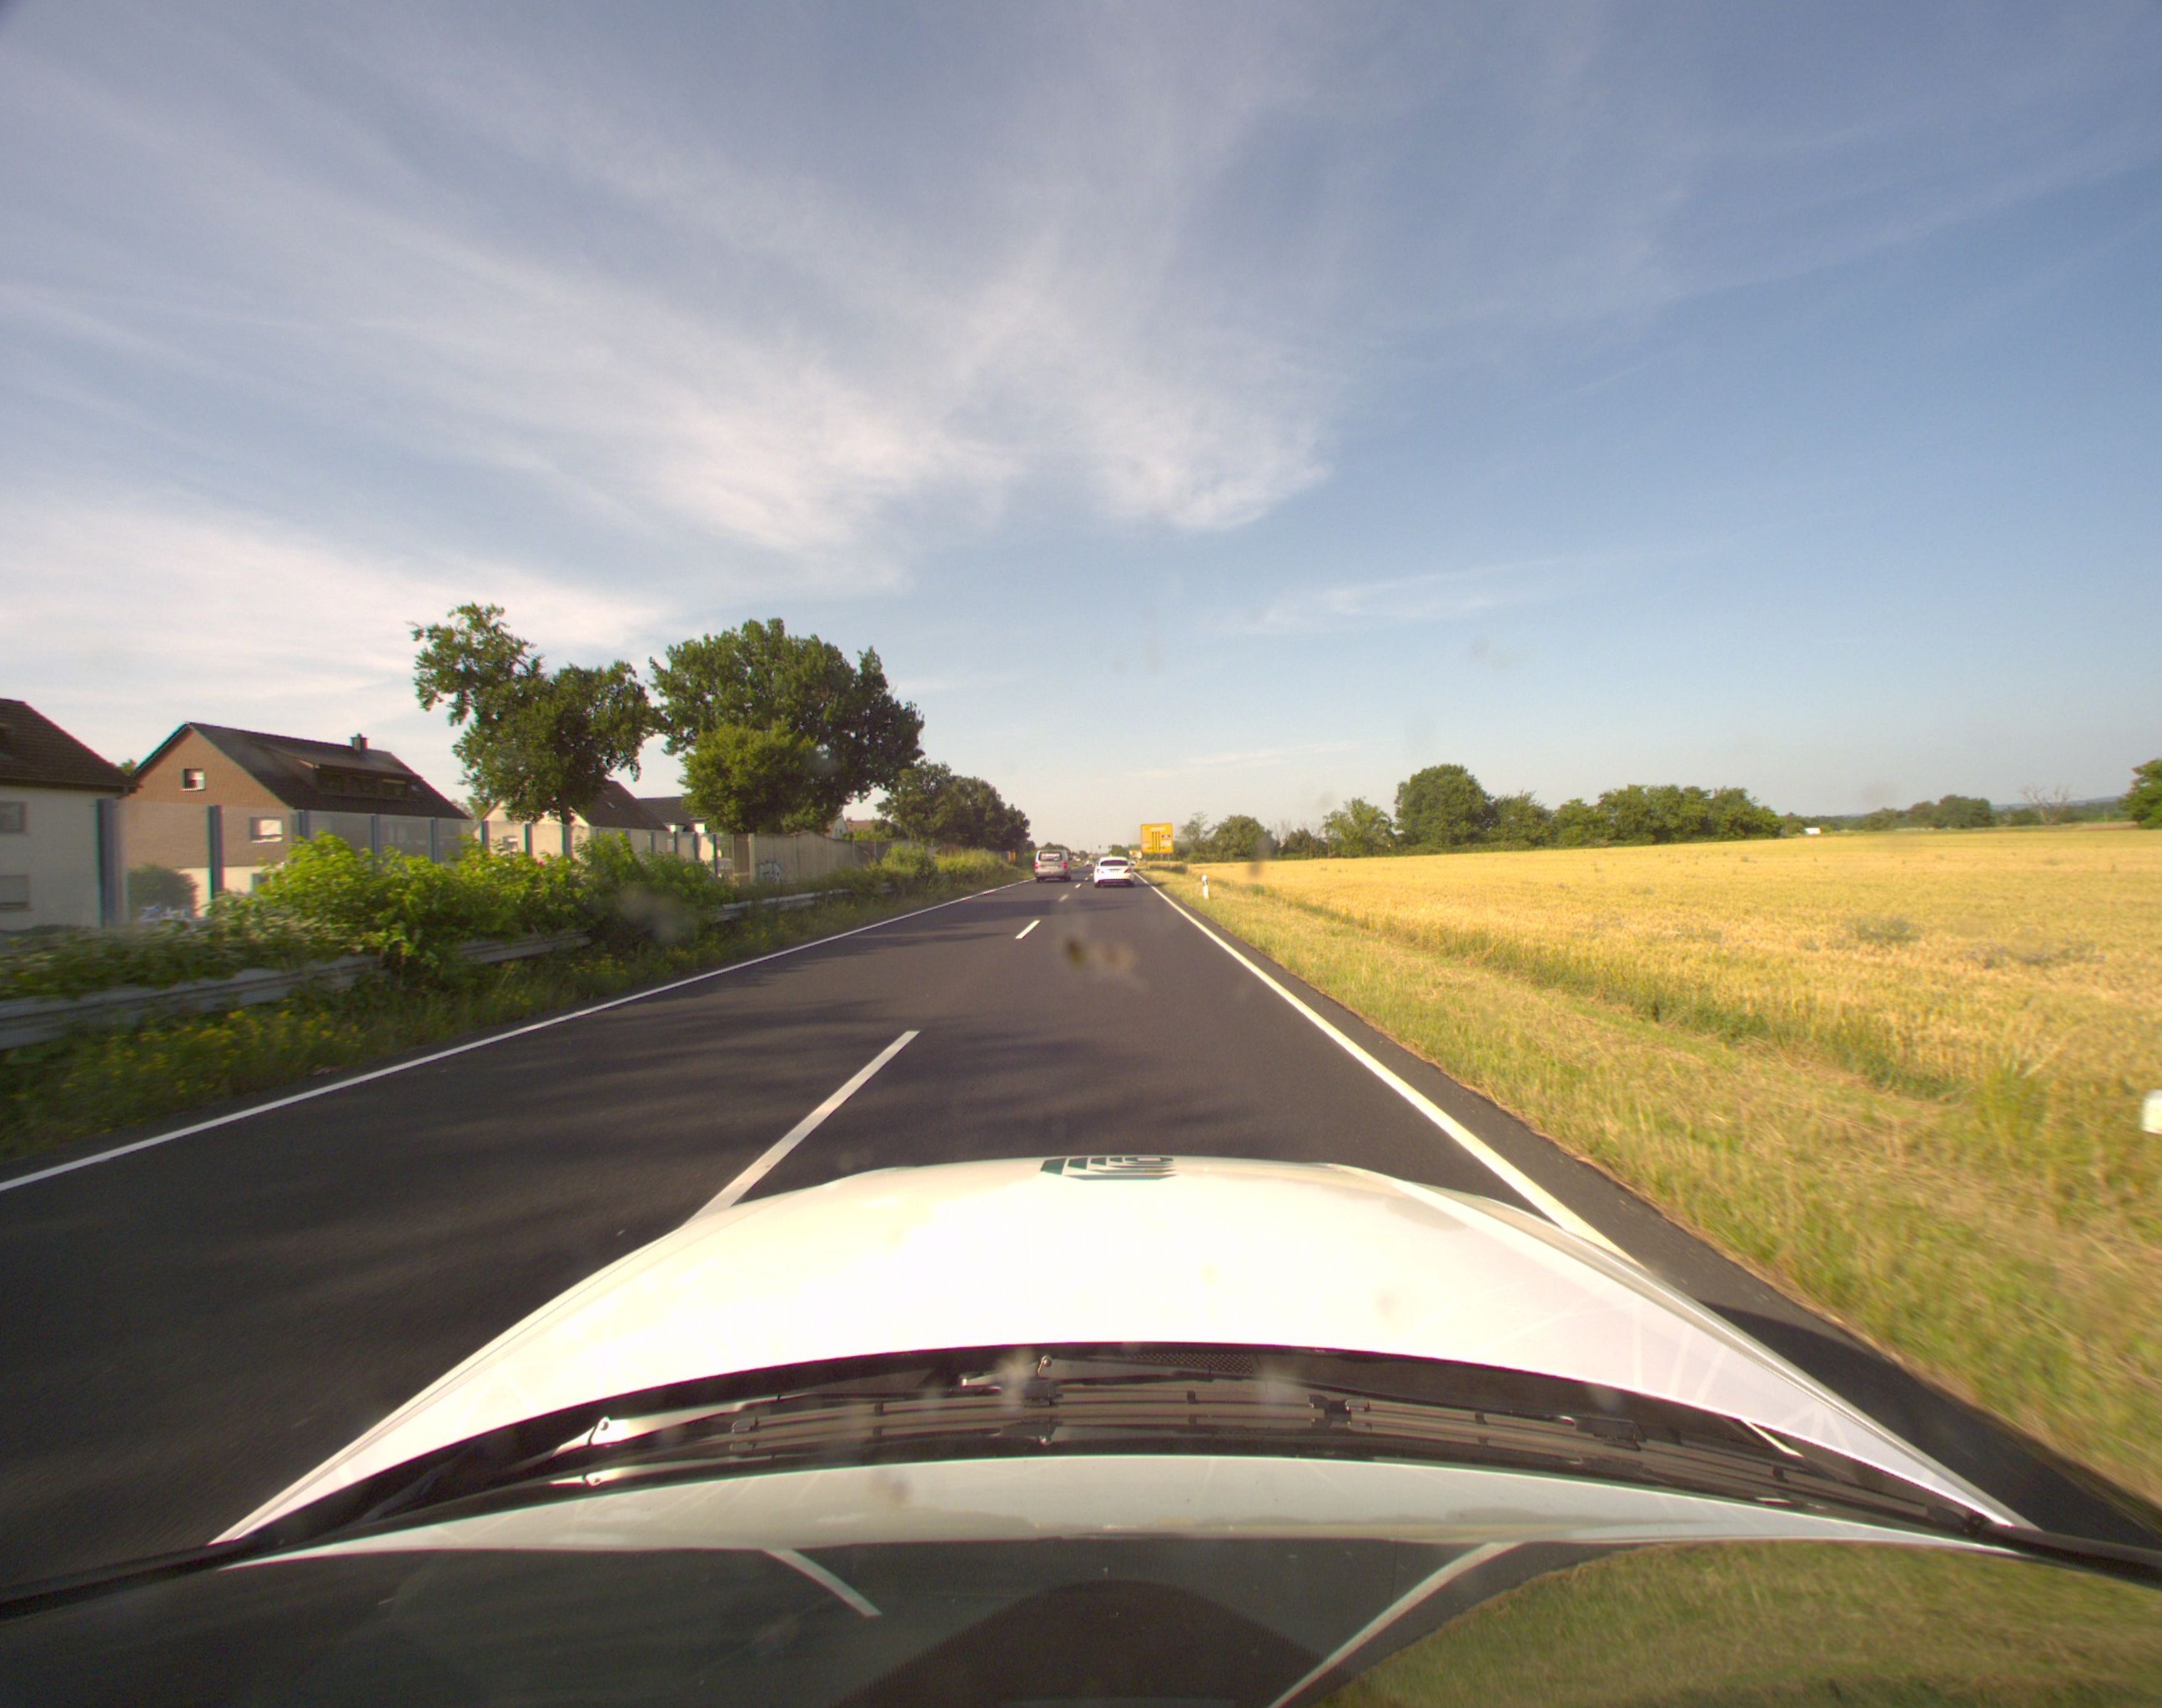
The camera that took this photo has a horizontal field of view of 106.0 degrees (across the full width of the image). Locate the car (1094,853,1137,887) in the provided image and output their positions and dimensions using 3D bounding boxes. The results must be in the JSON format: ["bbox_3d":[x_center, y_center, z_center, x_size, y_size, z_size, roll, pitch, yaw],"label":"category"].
[{"bbox_3d":[1.623,0.764,39.021,1.887,1.509,4.001,-1,-1,1],"label":"car"}]

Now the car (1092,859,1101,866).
[{"bbox_3d":[3.295,1.716,169.322,1.711,1.492,3.586,0,-1,2],"label":"car"}]

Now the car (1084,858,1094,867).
[{"bbox_3d":[1.361,1.450,139.920,1.711,1.492,3.586,0,-1,2],"label":"car"}]

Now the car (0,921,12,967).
[{"bbox_3d":[-28.959,2.352,19.988,1.566,1.176,2.899,0,-1,1],"label":"car"}]

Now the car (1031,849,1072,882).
[{"bbox_3d":[-1.707,0.652,48.463,2.017,1.892,4.961,0,0,2],"label":"car"}]

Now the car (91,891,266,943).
[{"bbox_3d":[-29.101,1.995,26.438,1.513,1.436,3.649,0,-1,2],"label":"car"}]
